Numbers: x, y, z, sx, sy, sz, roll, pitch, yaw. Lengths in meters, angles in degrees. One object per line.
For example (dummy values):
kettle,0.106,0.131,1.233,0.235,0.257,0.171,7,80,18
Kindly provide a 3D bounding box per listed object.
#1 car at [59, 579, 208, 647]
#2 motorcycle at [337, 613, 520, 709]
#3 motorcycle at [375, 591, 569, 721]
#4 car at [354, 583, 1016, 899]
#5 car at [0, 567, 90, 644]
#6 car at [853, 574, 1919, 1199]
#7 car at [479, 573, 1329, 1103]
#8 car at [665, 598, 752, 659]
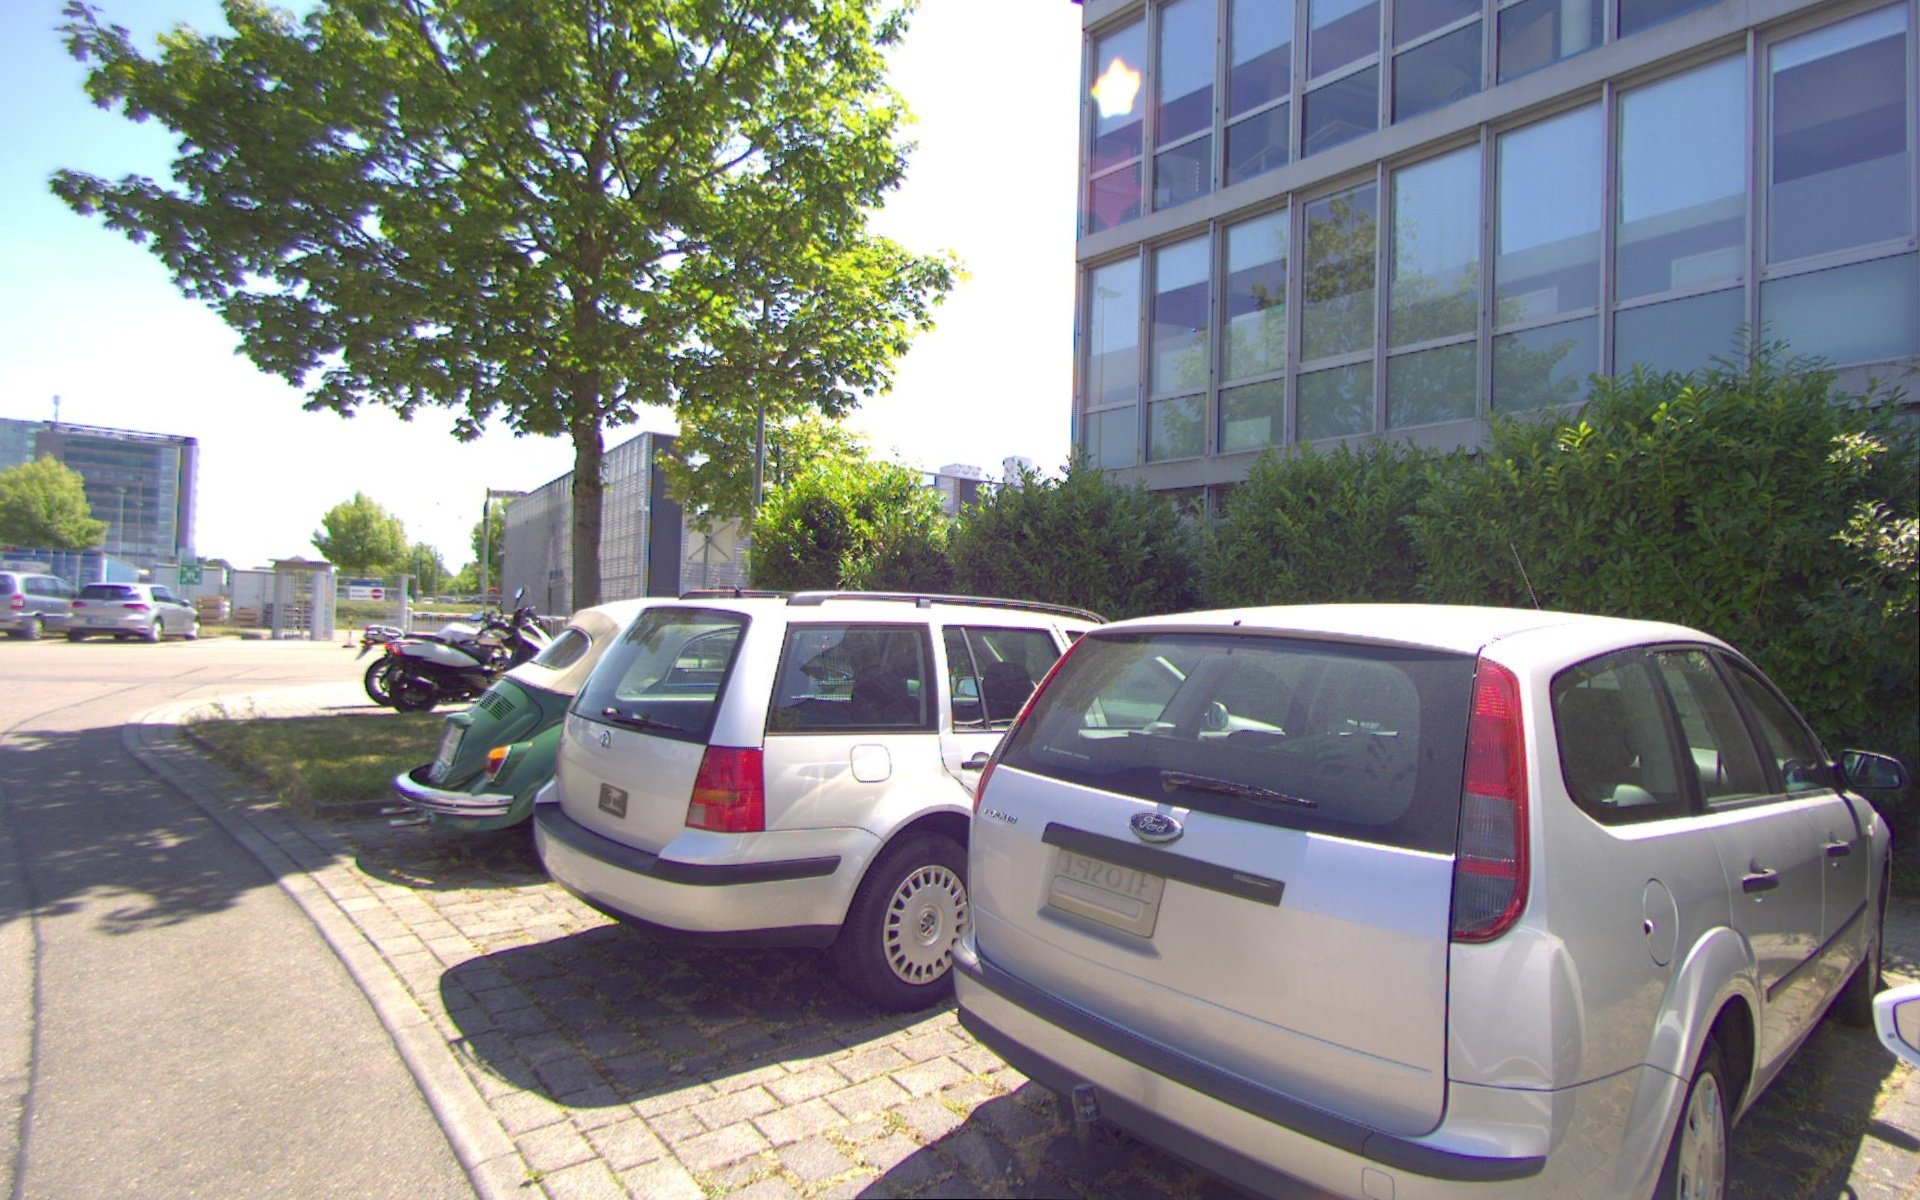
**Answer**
car,-20.856,0.311,25.546,1.628,1.542,3.981,2,-1,-20
motorcycle,-6.707,0.754,12.762,1.976,1.123,0.478,2,0,-43
motorcycle,-5.681,0.635,11.798,1.976,1.408,0.478,2,0,-43
car,-1.568,0.717,6.596,3.864,1.467,1.632,3,-1,-43
car,-23.184,0.102,24.752,1.751,1.761,3.970,2,-1,-29
car,1.918,0.785,3.442,4.313,1.499,1.705,3,-1,-40
car,0.039,0.734,4.775,3.864,1.499,1.632,3,-1,-43
car,-7.392,0.805,29.299,1.970,1.616,3.980,2,-1,-21
